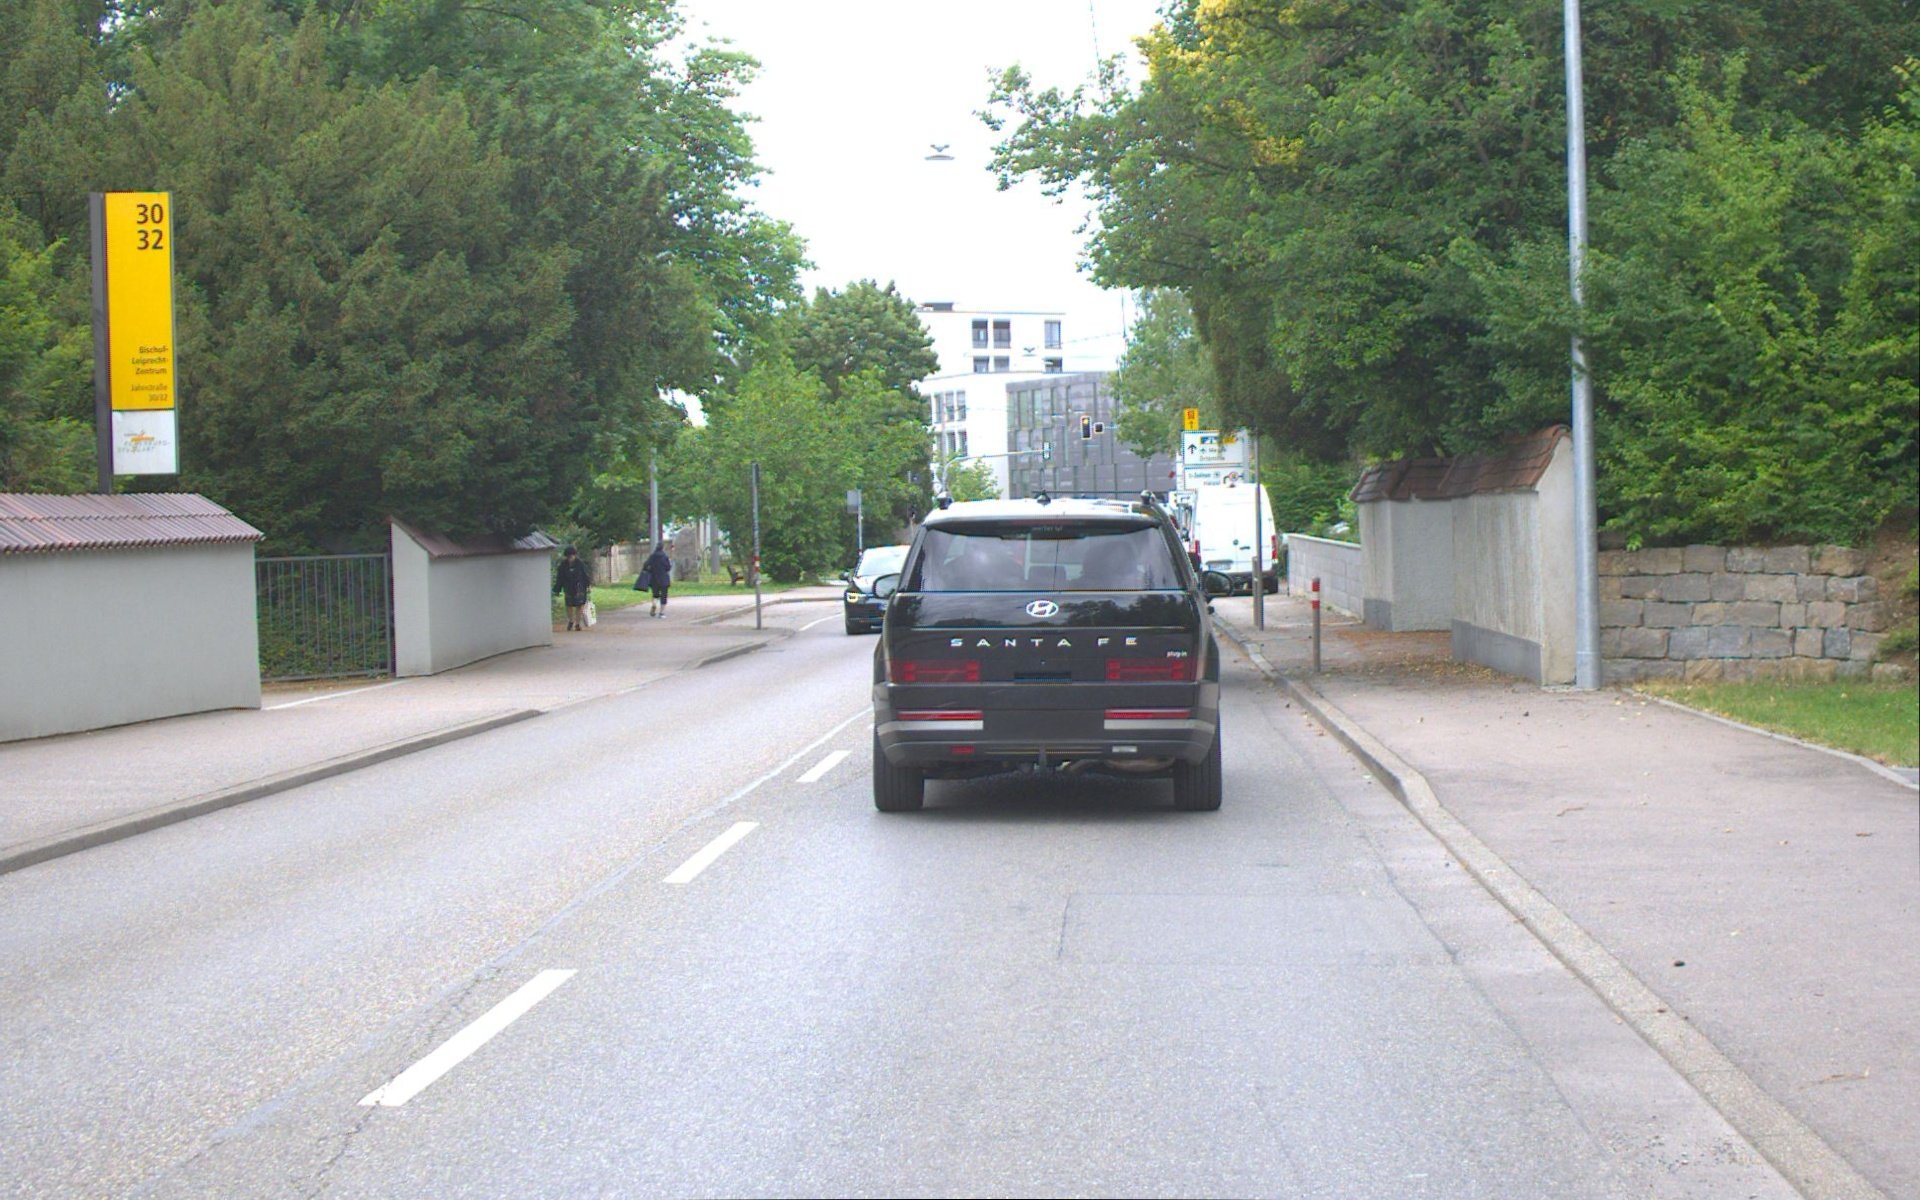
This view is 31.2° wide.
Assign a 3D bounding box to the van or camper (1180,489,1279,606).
[{"bbox_3d":[6.530,-1.310,83.821,1.964,2.619,6.358,-4,1,2],"label":"van or camper"}]

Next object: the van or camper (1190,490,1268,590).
[{"bbox_3d":[8.000,-1.795,102.589,1.964,2.787,5.287,-3,1,2],"label":"van or camper"}]

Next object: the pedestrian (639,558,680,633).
[{"bbox_3d":[-6.350,-0.097,72.685,0.749,1.572,0.966,0,1,3],"label":"pedestrian"}]

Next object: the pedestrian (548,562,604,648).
[{"bbox_3d":[-7.010,0.094,62.814,0.925,1.555,0.902,1,0,-1],"label":"pedestrian"}]

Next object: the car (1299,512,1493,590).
[{"bbox_3d":[10.227,-1.160,80.860,4.395,1.646,1.829,-2,1,4],"label":"car"}]

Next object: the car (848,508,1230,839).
[{"bbox_3d":[0.488,0.339,19.768,1.964,1.705,4.000,0,1,2],"label":"car"}]

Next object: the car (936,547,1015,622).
[{"bbox_3d":[0.457,-0.455,94.768,1.890,1.849,5.083,-5,1,2],"label":"car"}]

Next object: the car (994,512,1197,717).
[{"bbox_3d":[1.431,0.116,36.432,1.964,1.994,4.000,-2,1,2],"label":"car"}]

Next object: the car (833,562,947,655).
[{"bbox_3d":[-1.157,0.120,58.625,1.785,1.423,4.000,-3,1,0],"label":"car"}]
